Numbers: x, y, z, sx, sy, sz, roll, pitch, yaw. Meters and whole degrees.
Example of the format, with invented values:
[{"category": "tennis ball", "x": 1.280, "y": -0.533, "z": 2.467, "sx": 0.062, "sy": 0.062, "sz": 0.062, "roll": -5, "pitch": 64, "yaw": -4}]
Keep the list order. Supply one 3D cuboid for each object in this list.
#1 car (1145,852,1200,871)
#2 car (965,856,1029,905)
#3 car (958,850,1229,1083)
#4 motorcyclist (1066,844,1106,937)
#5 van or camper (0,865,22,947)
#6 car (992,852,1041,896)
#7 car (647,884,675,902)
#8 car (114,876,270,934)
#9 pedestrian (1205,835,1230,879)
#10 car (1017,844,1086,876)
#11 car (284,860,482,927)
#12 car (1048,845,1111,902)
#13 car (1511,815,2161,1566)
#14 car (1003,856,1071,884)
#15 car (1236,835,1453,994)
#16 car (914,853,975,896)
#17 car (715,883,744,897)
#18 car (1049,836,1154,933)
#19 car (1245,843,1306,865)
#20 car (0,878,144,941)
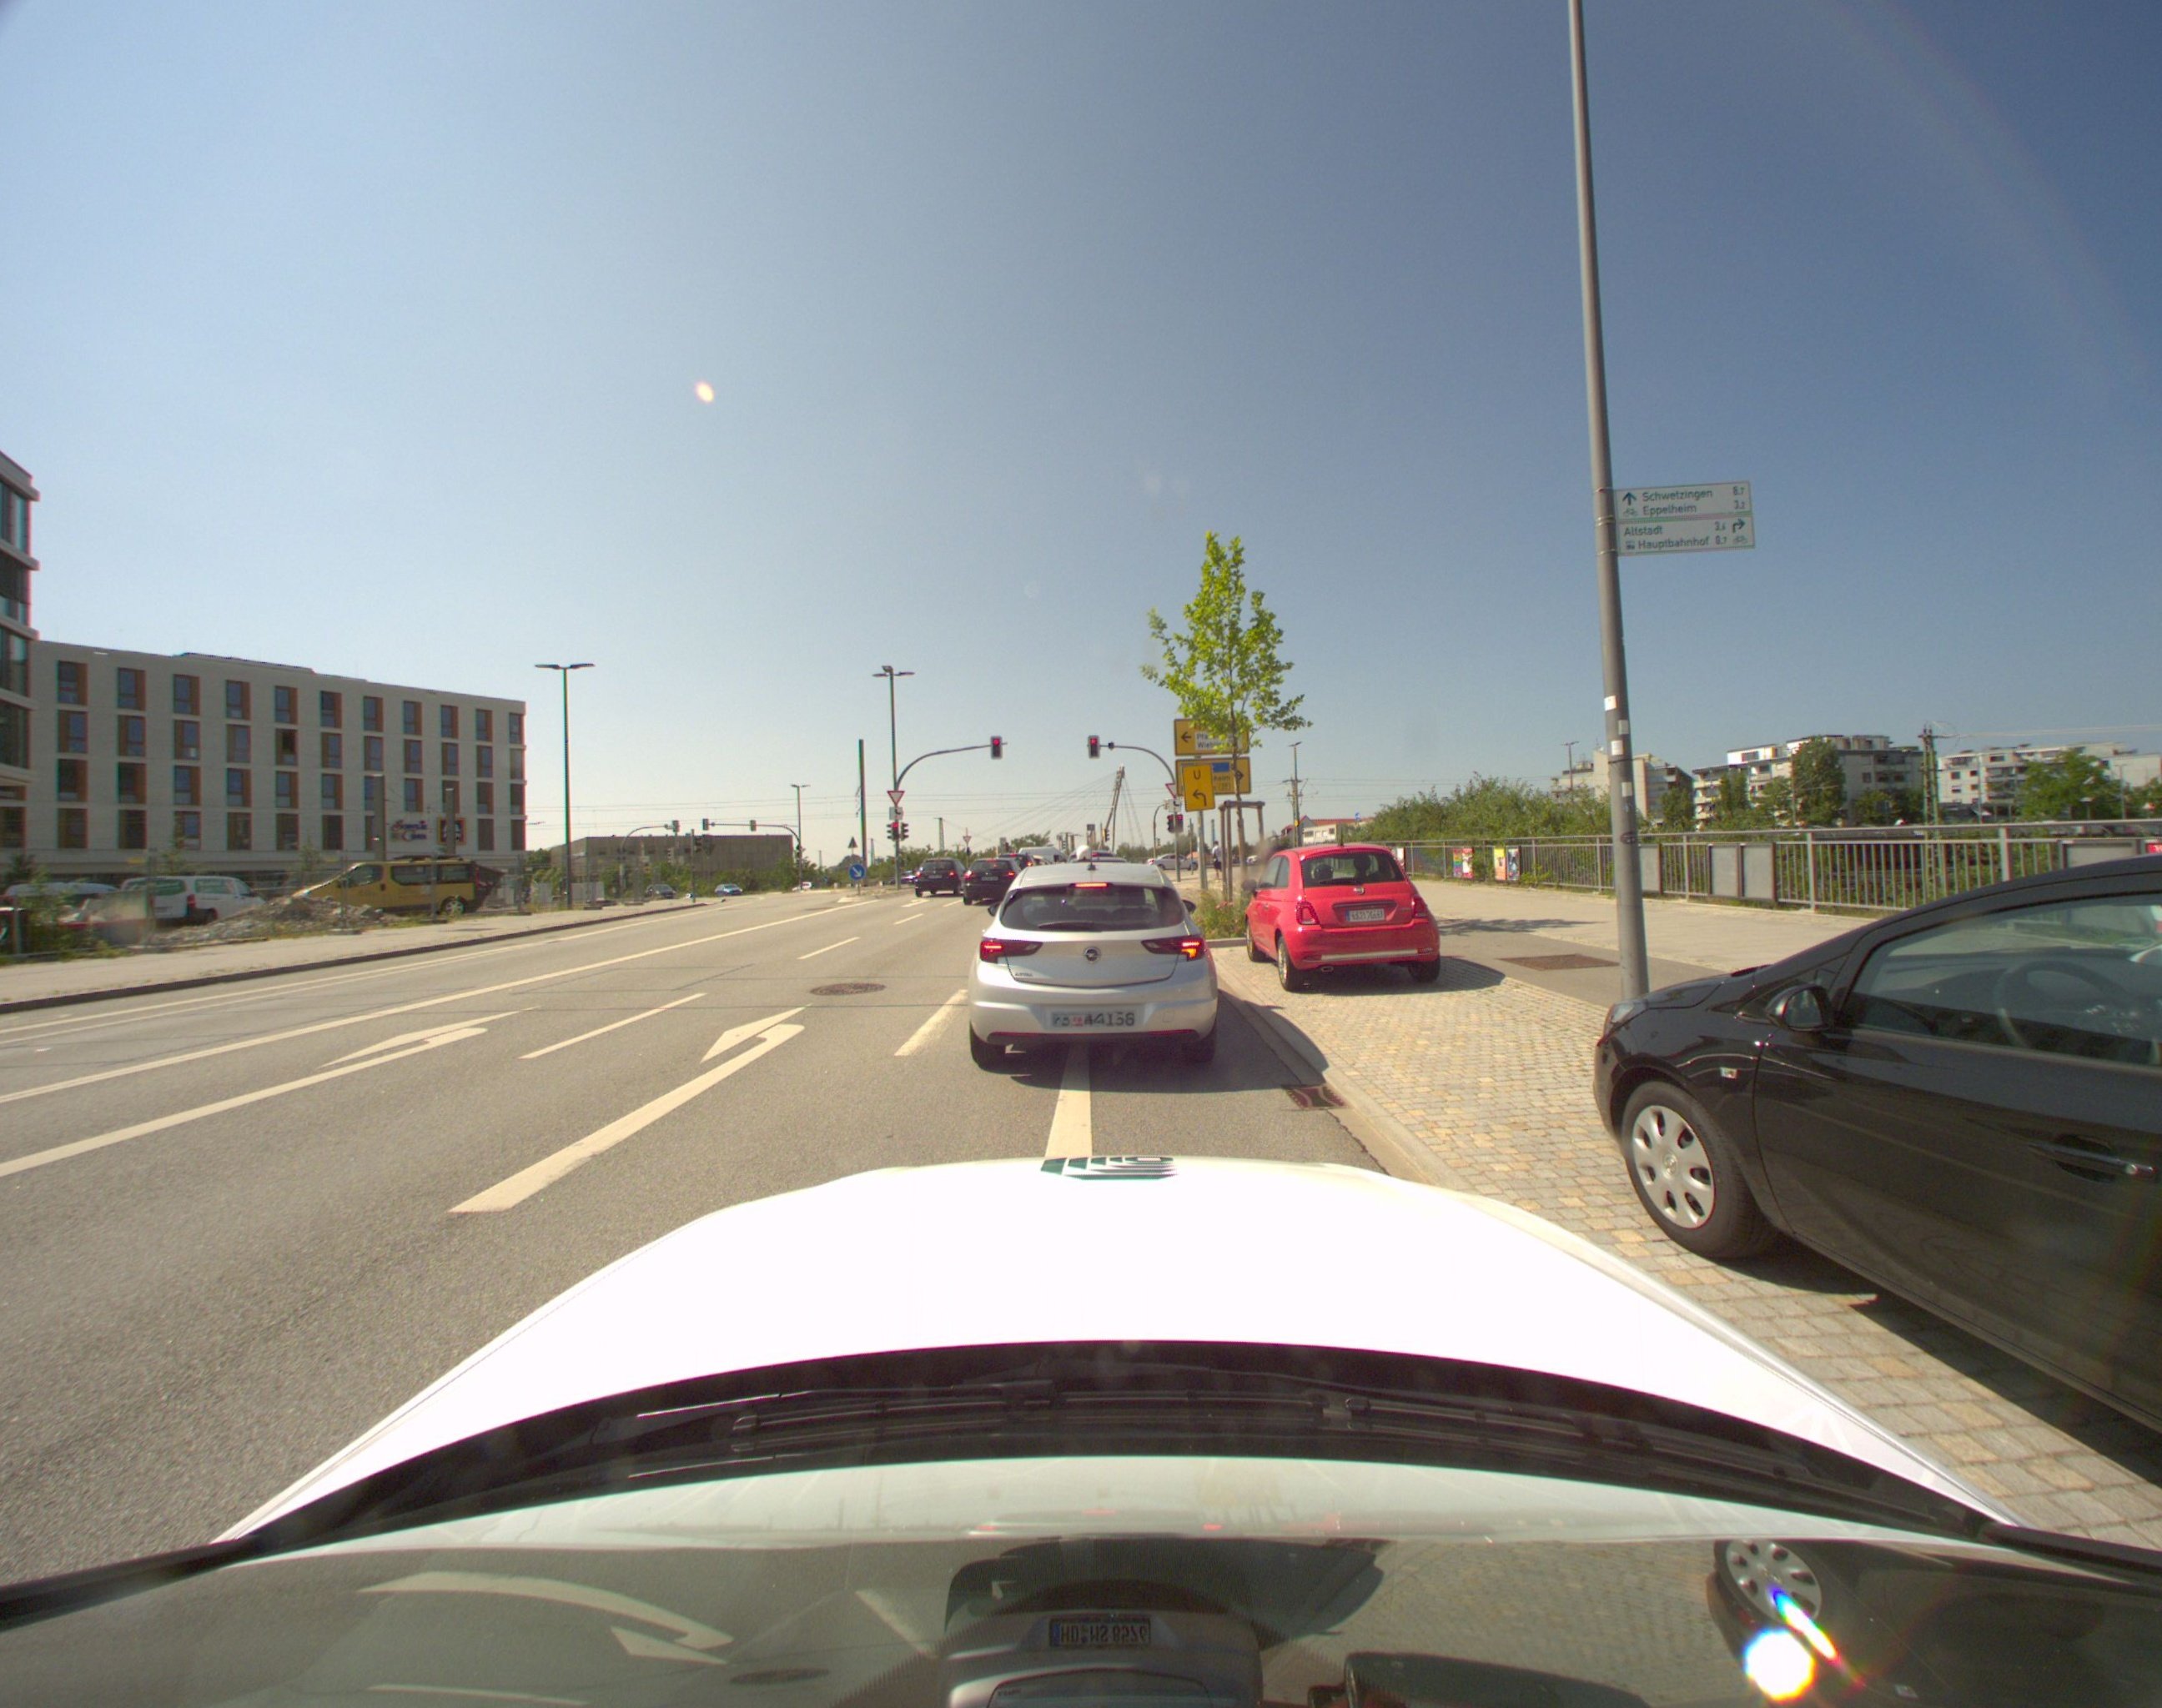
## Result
[{"category": "car", "x": 7.161, "y": 0.592, "z": 63.765, "sx": 3.980, "sy": 1.483, "sz": 1.997, "roll": 0, "pitch": -1, "yaw": -5}, {"category": "car", "x": -2.602, "y": 0.790, "z": 25.919, "sx": 1.569, "sy": 1.434, "sz": 3.786, "roll": 0, "pitch": -1, "yaw": 1}, {"category": "car", "x": 0.063, "y": 0.736, "z": 7.238, "sx": 1.738, "sy": 1.478, "sz": 3.998, "roll": 0, "pitch": -1, "yaw": -1}, {"category": "motorcyclist", "x": 0.087, "y": 0.546, "z": 12.510, "sx": 0.579, "sy": 1.389, "sz": 0.707, "roll": 0, "pitch": -1, "yaw": 1}, {"category": "van or camper", "x": -36.460, "y": 1.717, "z": 25.308, "sx": 2.318, "sy": 2.735, "sz": 4.944, "roll": 0, "pitch": -1, "yaw": -26}, {"category": "car", "x": -2.464, "y": 0.759, "z": 31.795, "sx": 1.644, "sy": 1.615, "sz": 3.819, "roll": 0, "pitch": -1, "yaw": 0}, {"category": "car", "x": -38.567, "y": 3.554, "z": 74.778, "sx": 1.686, "sy": 1.476, "sz": 3.368, "roll": -2, "pitch": 0, "yaw": -37}, {"category": "car", "x": -31.008, "y": 1.689, "z": 28.622, "sx": 1.873, "sy": 1.774, "sz": 4.619, "roll": 0, "pitch": -1, "yaw": -22}, {"category": "pedestrian", "x": 5.782, "y": 0.135, "z": 34.550, "sx": 0.641, "sy": 1.836, "sz": 0.803, "roll": -3, "pitch": -1, "yaw": 41}, {"category": "car", "x": -2.291, "y": 0.486, "z": 62.798, "sx": 4.966, "sy": 2.376, "sz": 1.790, "roll": -1, "pitch": -1, "yaw": 12}, {"category": "car", "x": -22.598, "y": 1.192, "z": 26.519, "sx": 1.964, "sy": 1.962, "sz": 4.655, "roll": -1, "pitch": -1, "yaw": 40}, {"category": "car", "x": 0.022, "y": 0.515, "z": 24.380, "sx": 1.717, "sy": 1.563, "sz": 4.002, "roll": 0, "pitch": 1, "yaw": 2}, {"category": "car", "x": 2.891, "y": 0.622, "z": 1.937, "sx": 1.654, "sy": 1.426, "sz": 4.001, "roll": -3, "pitch": -1, "yaw": 2}, {"category": "car", "x": -3.225, "y": 1.190, "z": 60.207, "sx": 4.674, "sy": 2.014, "sz": 2.005, "roll": 0, "pitch": -1, "yaw": 9}, {"category": "car", "x": 2.947, "y": 0.604, "z": 9.813, "sx": 1.603, "sy": 1.496, "sz": 3.355, "roll": -4, "pitch": 0, "yaw": 3}, {"category": "car", "x": -5.206, "y": 0.769, "z": 31.362, "sx": 1.591, "sy": 1.547, "sz": 3.764, "roll": 0, "pitch": -1, "yaw": 2}, {"category": "car", "x": -36.702, "y": 3.742, "z": 85.065, "sx": 1.831, "sy": 1.331, "sz": 3.954, "roll": 0, "pitch": -2, "yaw": -38}, {"category": "car", "x": 0.465, "y": 0.564, "z": 17.717, "sx": 1.986, "sy": 1.820, "sz": 4.404, "roll": 0, "pitch": 0, "yaw": 2}, {"category": "car", "x": 15.357, "y": 0.004, "z": 64.358, "sx": 4.277, "sy": 1.631, "sz": 1.749, "roll": -1, "pitch": -1, "yaw": -12}, {"category": "car", "x": -33.724, "y": 1.793, "z": 27.187, "sx": 1.794, "sy": 1.857, "sz": 3.819, "roll": 0, "pitch": -1, "yaw": -25}]
